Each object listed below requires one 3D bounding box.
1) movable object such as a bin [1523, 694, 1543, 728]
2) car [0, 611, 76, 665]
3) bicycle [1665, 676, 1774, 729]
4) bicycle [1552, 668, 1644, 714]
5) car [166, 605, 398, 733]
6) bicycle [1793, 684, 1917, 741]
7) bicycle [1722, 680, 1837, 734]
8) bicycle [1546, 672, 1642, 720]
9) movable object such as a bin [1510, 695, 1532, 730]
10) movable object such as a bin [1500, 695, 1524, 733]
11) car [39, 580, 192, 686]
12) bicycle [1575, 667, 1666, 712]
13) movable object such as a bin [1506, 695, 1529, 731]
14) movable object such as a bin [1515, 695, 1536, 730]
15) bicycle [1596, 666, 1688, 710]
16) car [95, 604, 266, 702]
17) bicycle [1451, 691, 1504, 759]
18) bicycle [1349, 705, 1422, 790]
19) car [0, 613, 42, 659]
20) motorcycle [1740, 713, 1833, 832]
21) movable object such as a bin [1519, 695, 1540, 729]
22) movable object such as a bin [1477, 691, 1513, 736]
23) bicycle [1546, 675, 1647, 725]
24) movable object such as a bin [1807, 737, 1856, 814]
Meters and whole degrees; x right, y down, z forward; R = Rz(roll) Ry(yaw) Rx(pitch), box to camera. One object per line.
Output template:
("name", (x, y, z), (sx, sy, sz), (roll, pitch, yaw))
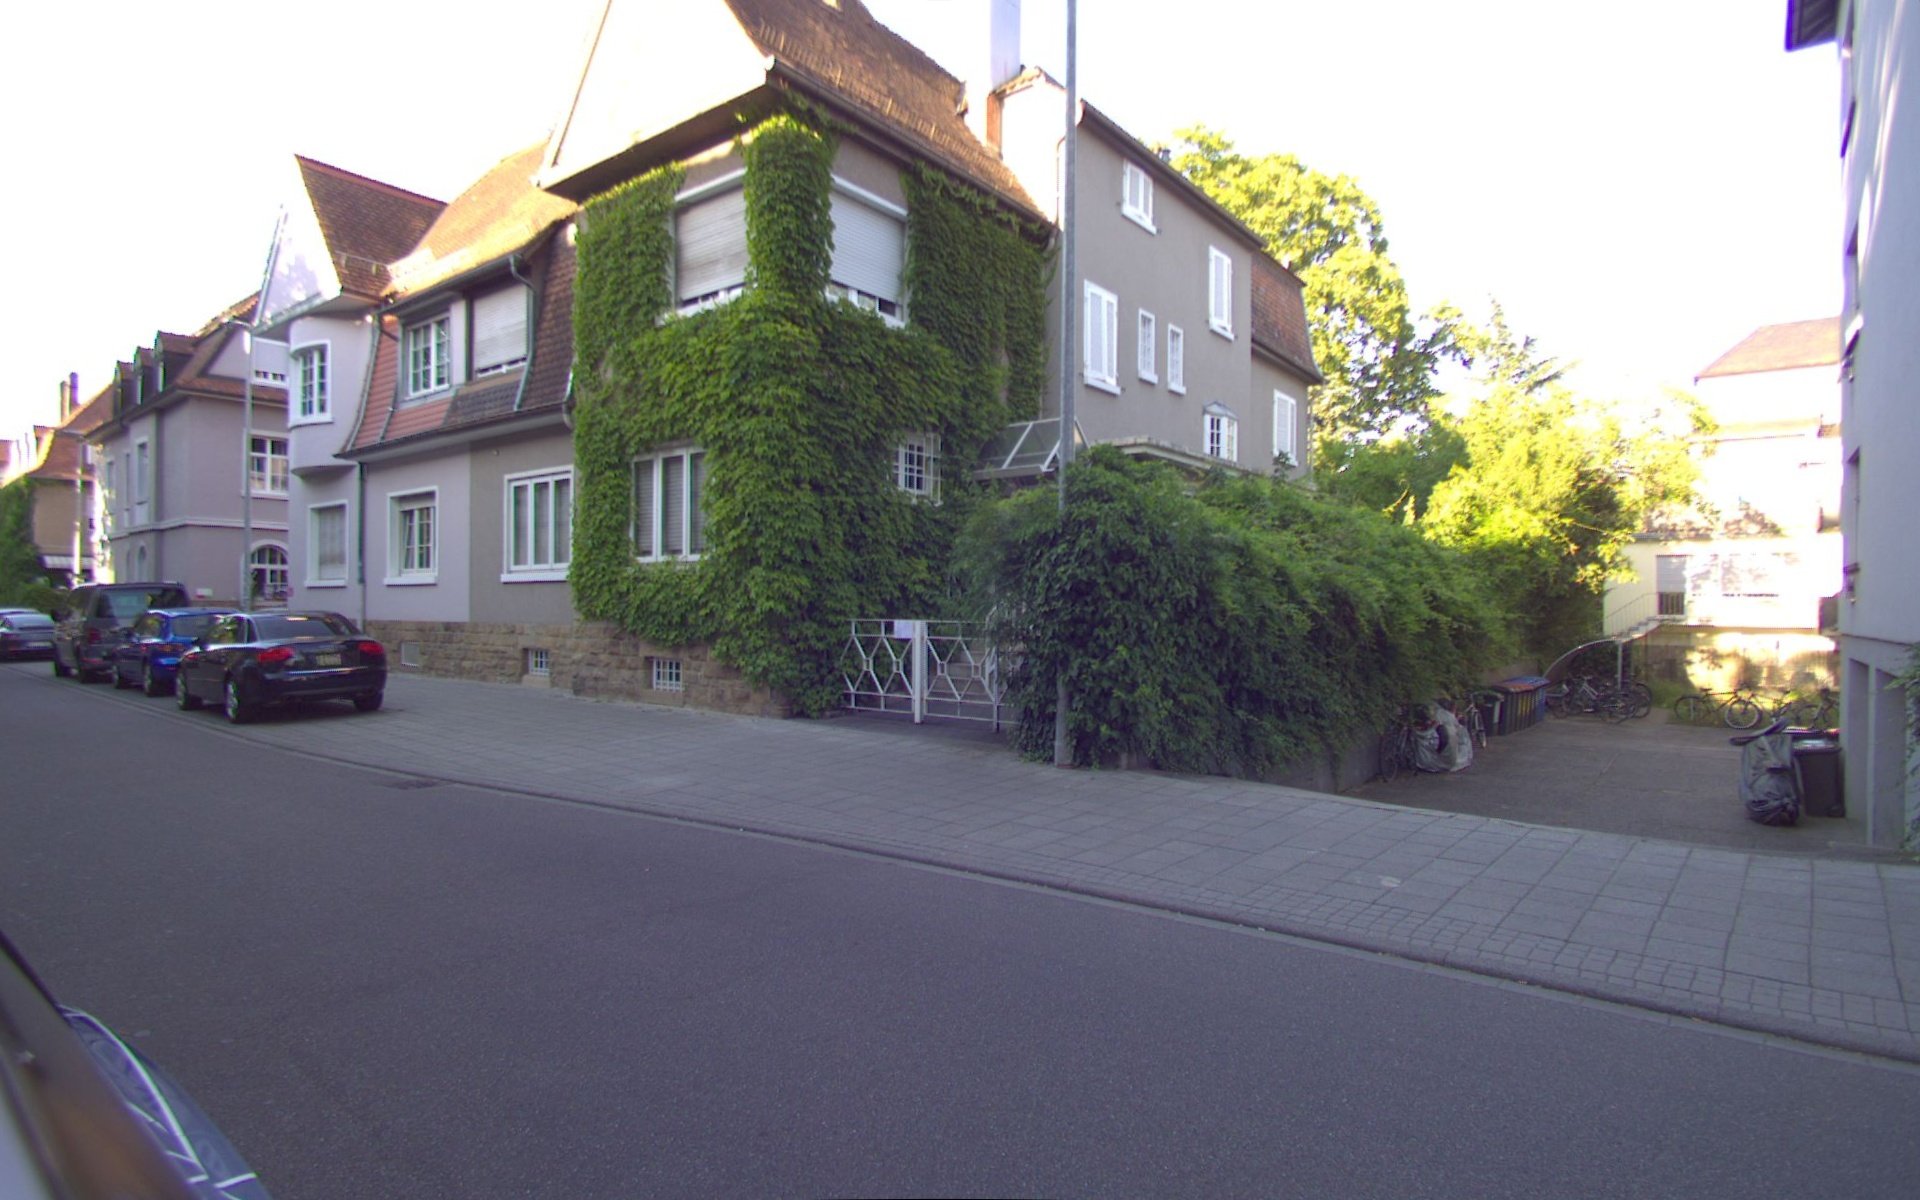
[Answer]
("movable object such as a bin", (13.535, 2.623, 23.916), (0.346, 0.764, 0.359), (-1, -4, 41))
("car", (-26.606, 1.040, 28.685), (4.331, 1.381, 1.697), (-1, 1, 40))
("bicycle", (18.464, 2.474, 24.634), (2.068, 1.028, 0.634), (2, 3, 41))
("bicycle", (17.453, 2.472, 27.716), (2.068, 1.028, 0.608), (2, 3, 41))
("car", (-9.585, 0.844, 14.187), (4.023, 1.439, 1.729), (0, 2, 42))
("bicycle", (20.309, 2.526, 23.015), (2.068, 1.028, 0.634), (2, 3, 41))
("bicycle", (19.323, 2.498, 23.893), (2.068, 1.028, 0.634), (2, 3, 41))
("bicycle", (16.591, 2.485, 26.515), (2.068, 1.028, 0.565), (2, 3, 41))
("movable object such as a bin", (12.767, 2.558, 23.018), (0.375, 0.764, 0.359), (-1, -4, 41))
("movable object such as a bin", (12.212, 2.515, 22.376), (0.398, 0.779, 0.359), (-1, -4, 41))
("car", (-17.811, 0.612, 21.288), (4.308, 1.987, 1.698), (0, 2, 40))
("bicycle", (18.372, 2.461, 28.180), (2.068, 1.028, 0.608), (2, 3, 41))
("movable object such as a bin", (12.491, 2.532, 22.689), (0.381, 0.779, 0.359), (-1, -4, 41))
("movable object such as a bin", (13.030, 2.583, 23.310), (0.367, 0.764, 0.359), (-1, -4, 41))
("bicycle", (19.174, 2.452, 28.483), (2.068, 1.028, 0.561), (2, 3, 41))
("car", (-14.042, 0.859, 18.159), (4.021, 1.475, 1.590), (0, 2, 40))
("bicycle", (9.695, 2.307, 18.930), (0.514, 1.027, 1.914), (1, 0, 38))
("bicycle", (6.504, 2.210, 15.422), (0.514, 1.027, 1.914), (1, 0, 38))
("car", (-30.727, 1.118, 32.346), (3.943, 1.381, 1.522), (-1, 1, 40))
("motorcycle", (10.468, 2.143, 12.868), (0.757, 1.261, 1.575), (-1, -2, 34))
("movable object such as a bin", (13.282, 2.601, 23.607), (0.367, 0.764, 0.359), (-1, -4, 41))
("movable object such as a bin", (11.285, 2.393, 21.350), (0.576, 0.886, 0.488), (0, -3, 41))
("bicycle", (16.024, 2.494, 25.505), (2.068, 1.028, 0.634), (2, 3, 41))
("movable object such as a bin", (11.489, 2.297, 13.353), (0.432, 0.894, 0.717), (-1, -2, 37))
